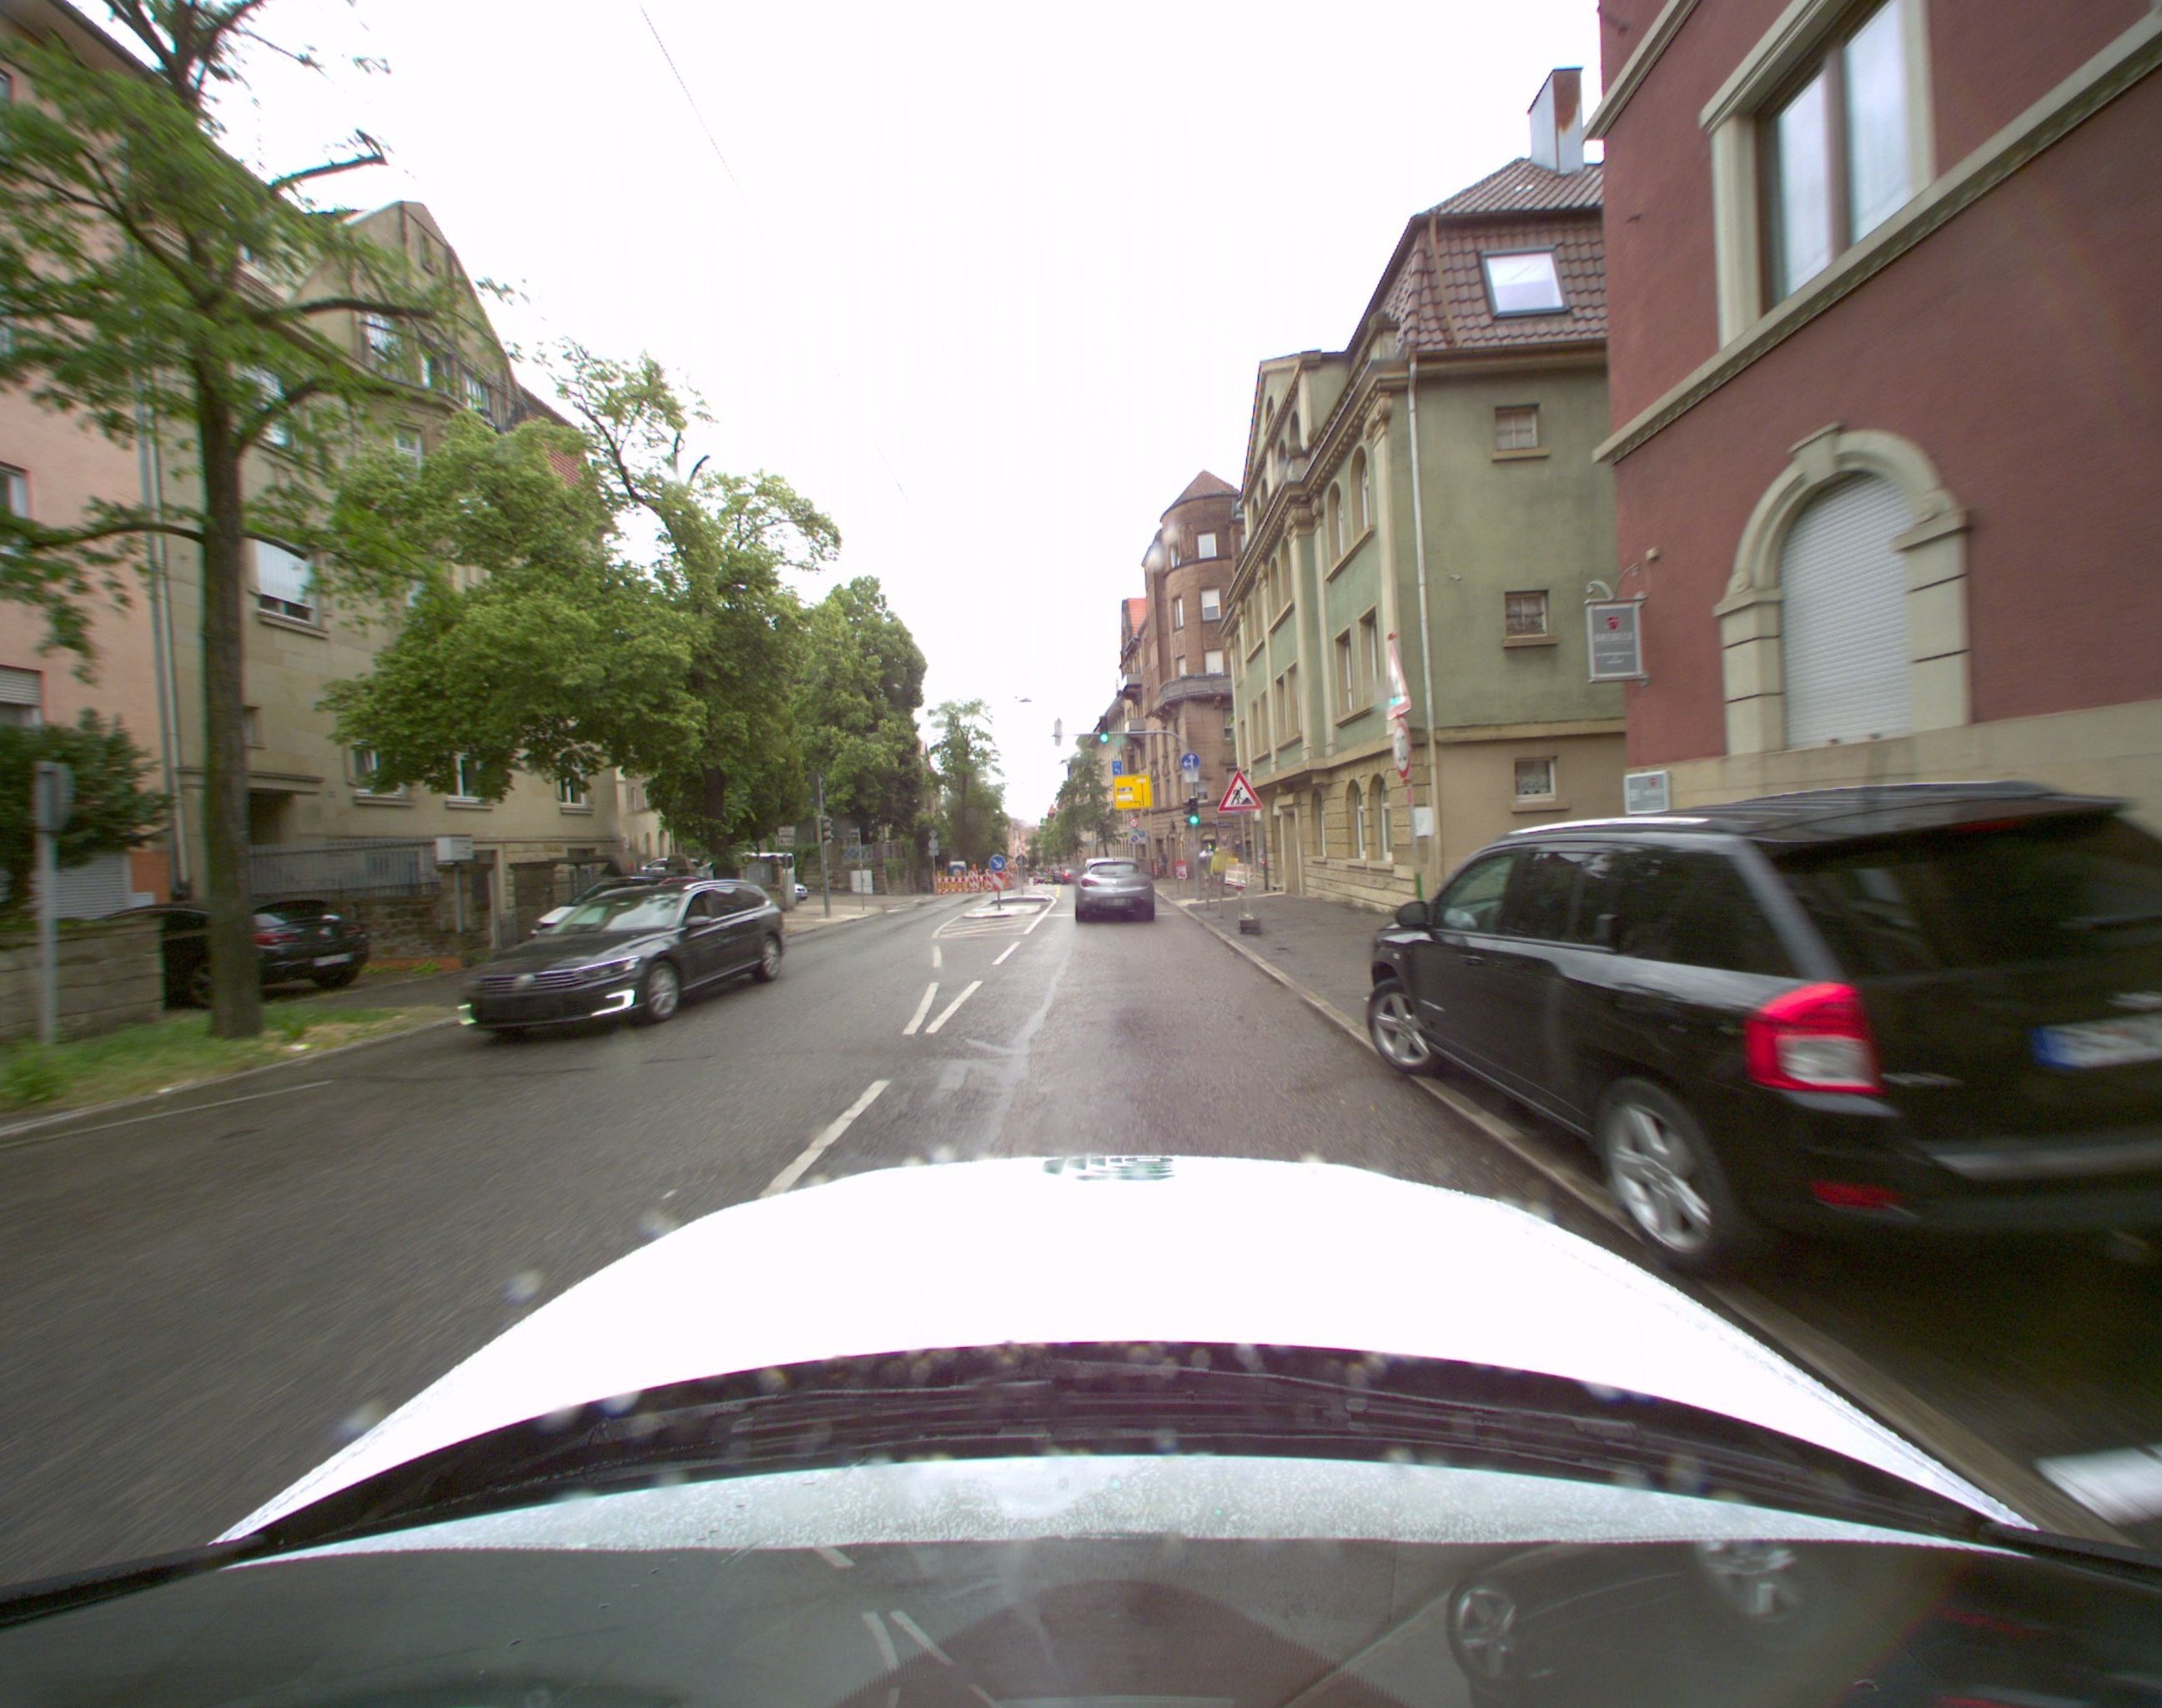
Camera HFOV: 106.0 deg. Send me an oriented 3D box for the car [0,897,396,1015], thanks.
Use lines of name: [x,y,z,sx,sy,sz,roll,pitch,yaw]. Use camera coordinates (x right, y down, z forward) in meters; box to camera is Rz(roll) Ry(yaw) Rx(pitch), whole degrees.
car: [-12.945,1.447,12.053,3.974,1.326,1.837,-3,0,0]

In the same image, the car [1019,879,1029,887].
car: [-12.480,6.398,178.843,1.992,1.501,3.989,-2,-2,-7]

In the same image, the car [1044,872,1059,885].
car: [-3.841,3.184,105.858,1.654,1.543,3.658,-5,-2,-5]

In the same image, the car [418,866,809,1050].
car: [-5.186,1.020,9.960,1.807,1.517,4.553,-4,0,4]

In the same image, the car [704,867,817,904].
car: [-13.092,1.286,33.434,3.842,1.409,1.829,1,-3,7]

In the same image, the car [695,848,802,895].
car: [-16.657,0.815,40.886,4.627,2.048,2.034,3,1,16]

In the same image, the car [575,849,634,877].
car: [-28.252,0.518,48.251,2.045,1.535,4.389,4,-3,-43]

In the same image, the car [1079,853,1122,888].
car: [0.877,0.784,38.630,1.768,1.504,3.865,-1,-1,-3]

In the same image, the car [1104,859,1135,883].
car: [2.737,1.271,59.120,1.654,1.543,3.658,-5,-2,-5]

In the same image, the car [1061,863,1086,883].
car: [-0.694,1.688,70.435,1.655,1.543,3.656,-5,-2,-7]

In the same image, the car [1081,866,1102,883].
car: [1.046,2.010,80.814,1.636,1.520,3.176,-5,-1,-6]

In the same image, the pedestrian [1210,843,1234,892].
pedestrian: [4.765,0.459,27.566,0.592,1.584,0.668,-5,0,18]

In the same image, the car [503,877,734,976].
car: [-8.380,1.229,15.285,1.734,1.559,4.304,-1,-1,2]

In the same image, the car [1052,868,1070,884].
car: [-2.123,2.363,85.738,1.654,1.543,3.658,-5,-2,-5]

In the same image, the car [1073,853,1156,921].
car: [0.840,0.765,19.877,1.804,1.450,3.871,-2,-1,3]

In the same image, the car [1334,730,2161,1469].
car: [2.940,0.553,4.200,1.869,1.630,4.700,-6,-2,3]

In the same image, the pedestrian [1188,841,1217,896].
pedestrian: [4.165,0.492,27.812,0.712,1.774,0.669,-5,0,19]
